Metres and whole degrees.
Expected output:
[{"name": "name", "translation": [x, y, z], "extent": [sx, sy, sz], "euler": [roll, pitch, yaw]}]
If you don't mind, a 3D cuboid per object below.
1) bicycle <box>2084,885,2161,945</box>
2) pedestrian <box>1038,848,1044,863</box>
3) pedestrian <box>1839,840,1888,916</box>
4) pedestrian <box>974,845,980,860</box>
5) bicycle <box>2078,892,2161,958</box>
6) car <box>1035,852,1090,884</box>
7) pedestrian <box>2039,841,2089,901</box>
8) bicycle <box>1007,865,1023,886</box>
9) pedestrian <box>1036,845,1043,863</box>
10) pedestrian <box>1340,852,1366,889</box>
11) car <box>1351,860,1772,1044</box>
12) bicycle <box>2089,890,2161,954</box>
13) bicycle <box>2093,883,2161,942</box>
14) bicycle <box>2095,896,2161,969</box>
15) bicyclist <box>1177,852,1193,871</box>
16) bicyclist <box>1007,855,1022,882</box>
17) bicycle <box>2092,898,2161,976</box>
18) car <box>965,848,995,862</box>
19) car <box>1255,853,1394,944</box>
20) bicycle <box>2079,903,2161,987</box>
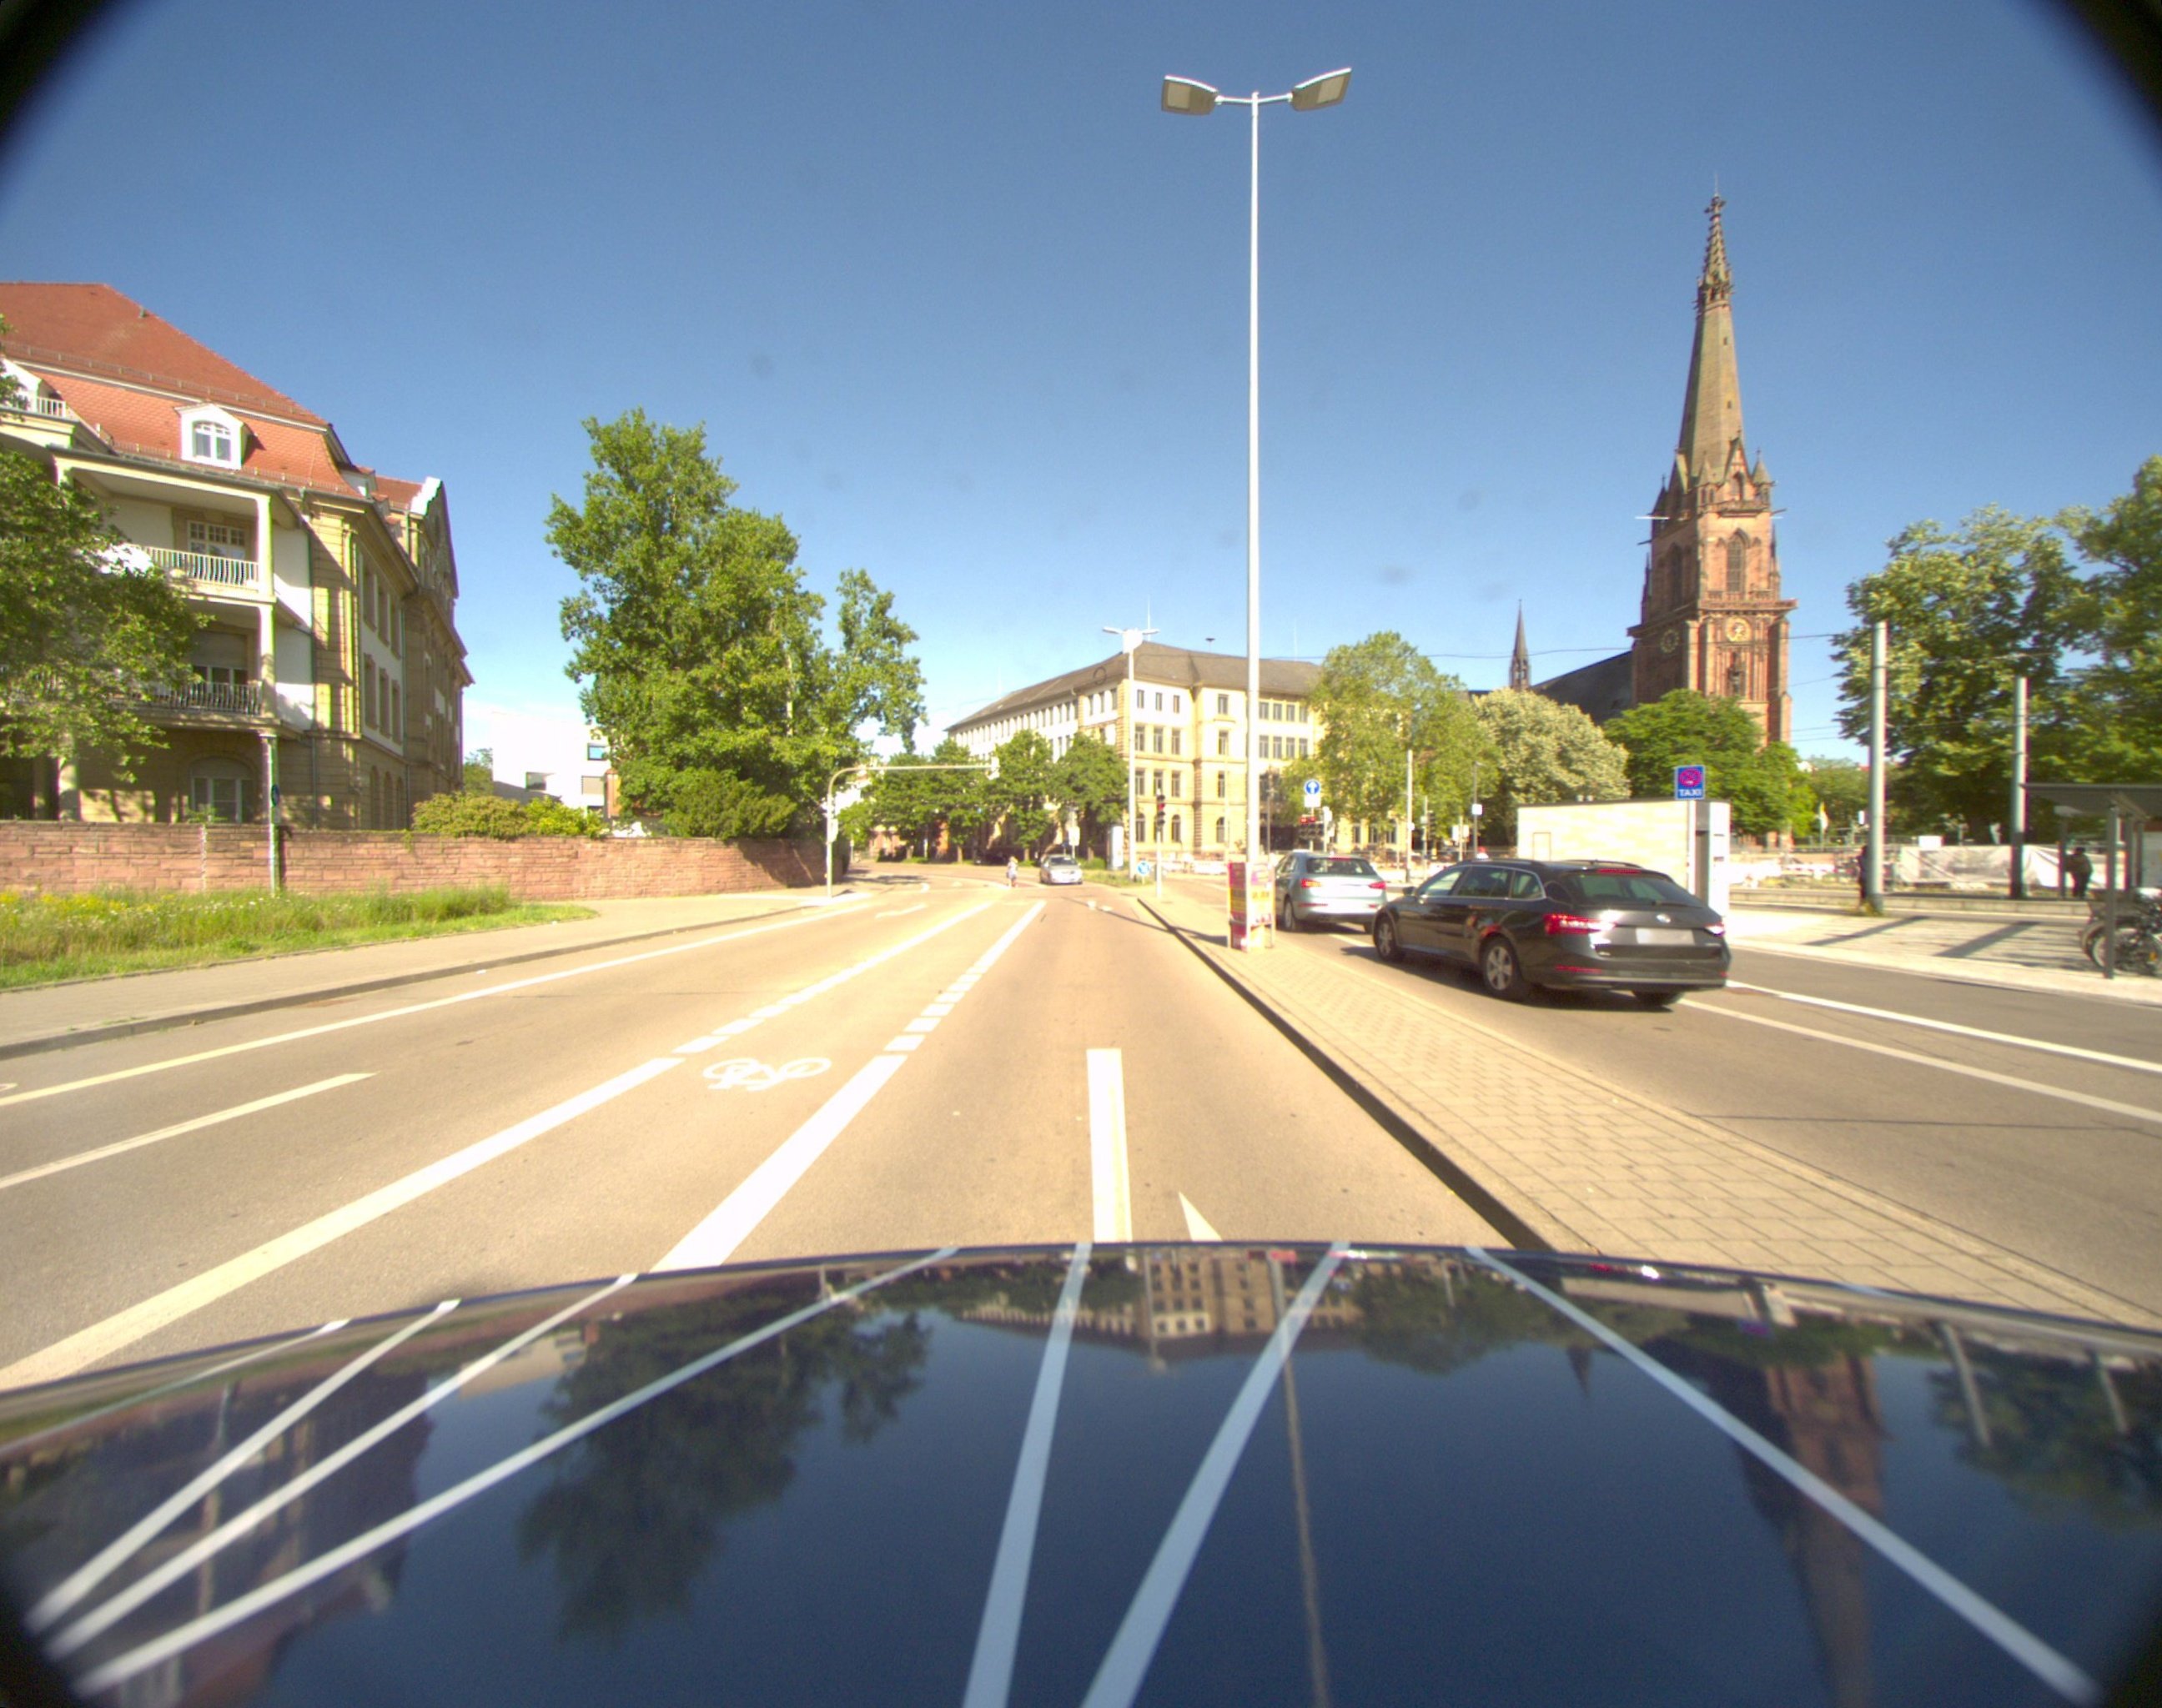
[{"name": "bicycle", "translation": [19.028, 1.083, 13.344], "extent": [0.407, 0.993, 1.679], "euler": [-3, 2, -33]}, {"name": "pedestrian", "translation": [-4.495, 0.154, 85.564], "extent": [0.540, 1.710, 0.545], "euler": [-1, 1, -37]}, {"name": "pedestrian", "translation": [19.437, 0.575, 18.871], "extent": [0.621, 1.849, 0.700], "euler": [-1, 1, -31]}, {"name": "pedestrian", "translation": [-13.388, -0.199, 97.798], "extent": [0.578, 1.893, 0.781], "euler": [-1, 1, -36]}, {"name": "bicycle", "translation": [17.184, 1.141, 12.019], "extent": [0.407, 0.993, 1.679], "euler": [-3, 2, -33]}, {"name": "car", "translation": [-1.089, 0.713, 41.512], "extent": [2.001, 1.580, 4.845], "euler": [-3, 1, -14]}, {"name": "pedestrian", "translation": [30.644, 0.512, 23.698], "extent": [0.619, 1.849, 0.703], "euler": [0, 1, 11]}, {"name": "bicycle", "translation": [-3.463, 1.118, 39.755], "extent": [0.741, 0.989, 2.305], "euler": [-2, 1, -6]}, {"name": "pedestrian", "translation": [-4.812, -0.004, 88.156], "extent": [0.557, 2.002, 0.645], "euler": [-1, 1, -37]}, {"name": "pedestrian", "translation": [12.445, 0.741, 34.734], "extent": [0.933, 1.657, 0.630], "euler": [0, 1, -11]}, {"name": "car", "translation": [5.042, 0.881, 9.010], "extent": [1.818, 1.496, 4.783], "euler": [2, 0, -2]}, {"name": "bicycle", "translation": [17.964, 1.136, 12.466], "extent": [0.407, 0.993, 1.679], "euler": [-3, 2, -33]}, {"name": "bicycle", "translation": [19.513, 1.064, 13.586], "extent": [0.407, 0.993, 1.679], "euler": [-3, 2, -33]}, {"name": "bicycle", "translation": [16.128, 1.182, 11.006], "extent": [0.407, 0.993, 1.678], "euler": [-3, 3, -33]}, {"name": "bicyclist", "translation": [8.397, 0.571, 61.450], "extent": [1.141, 1.531, 0.684], "euler": [0, 1, 36]}, {"name": "bicyclist", "translation": [-3.487, 0.745, 39.781], "extent": [0.741, 1.363, 0.626], "euler": [-2, 1, -6]}, {"name": "bicycle", "translation": [15.030, 1.165, 10.215], "extent": [0.407, 0.993, 1.678], "euler": [-3, 3, -33]}, {"name": "car", "translation": [-12.087, 0.135, 90.482], "extent": [1.839, 1.587, 3.989], "euler": [-1, 1, -37]}, {"name": "car", "translation": [4.840, 0.796, 15.715], "extent": [1.791, 1.572, 4.259], "euler": [1, 0, 5]}, {"name": "bicycle", "translation": [13.985, 1.187, 9.558], "extent": [0.407, 0.993, 1.678], "euler": [-3, 3, -33]}]
